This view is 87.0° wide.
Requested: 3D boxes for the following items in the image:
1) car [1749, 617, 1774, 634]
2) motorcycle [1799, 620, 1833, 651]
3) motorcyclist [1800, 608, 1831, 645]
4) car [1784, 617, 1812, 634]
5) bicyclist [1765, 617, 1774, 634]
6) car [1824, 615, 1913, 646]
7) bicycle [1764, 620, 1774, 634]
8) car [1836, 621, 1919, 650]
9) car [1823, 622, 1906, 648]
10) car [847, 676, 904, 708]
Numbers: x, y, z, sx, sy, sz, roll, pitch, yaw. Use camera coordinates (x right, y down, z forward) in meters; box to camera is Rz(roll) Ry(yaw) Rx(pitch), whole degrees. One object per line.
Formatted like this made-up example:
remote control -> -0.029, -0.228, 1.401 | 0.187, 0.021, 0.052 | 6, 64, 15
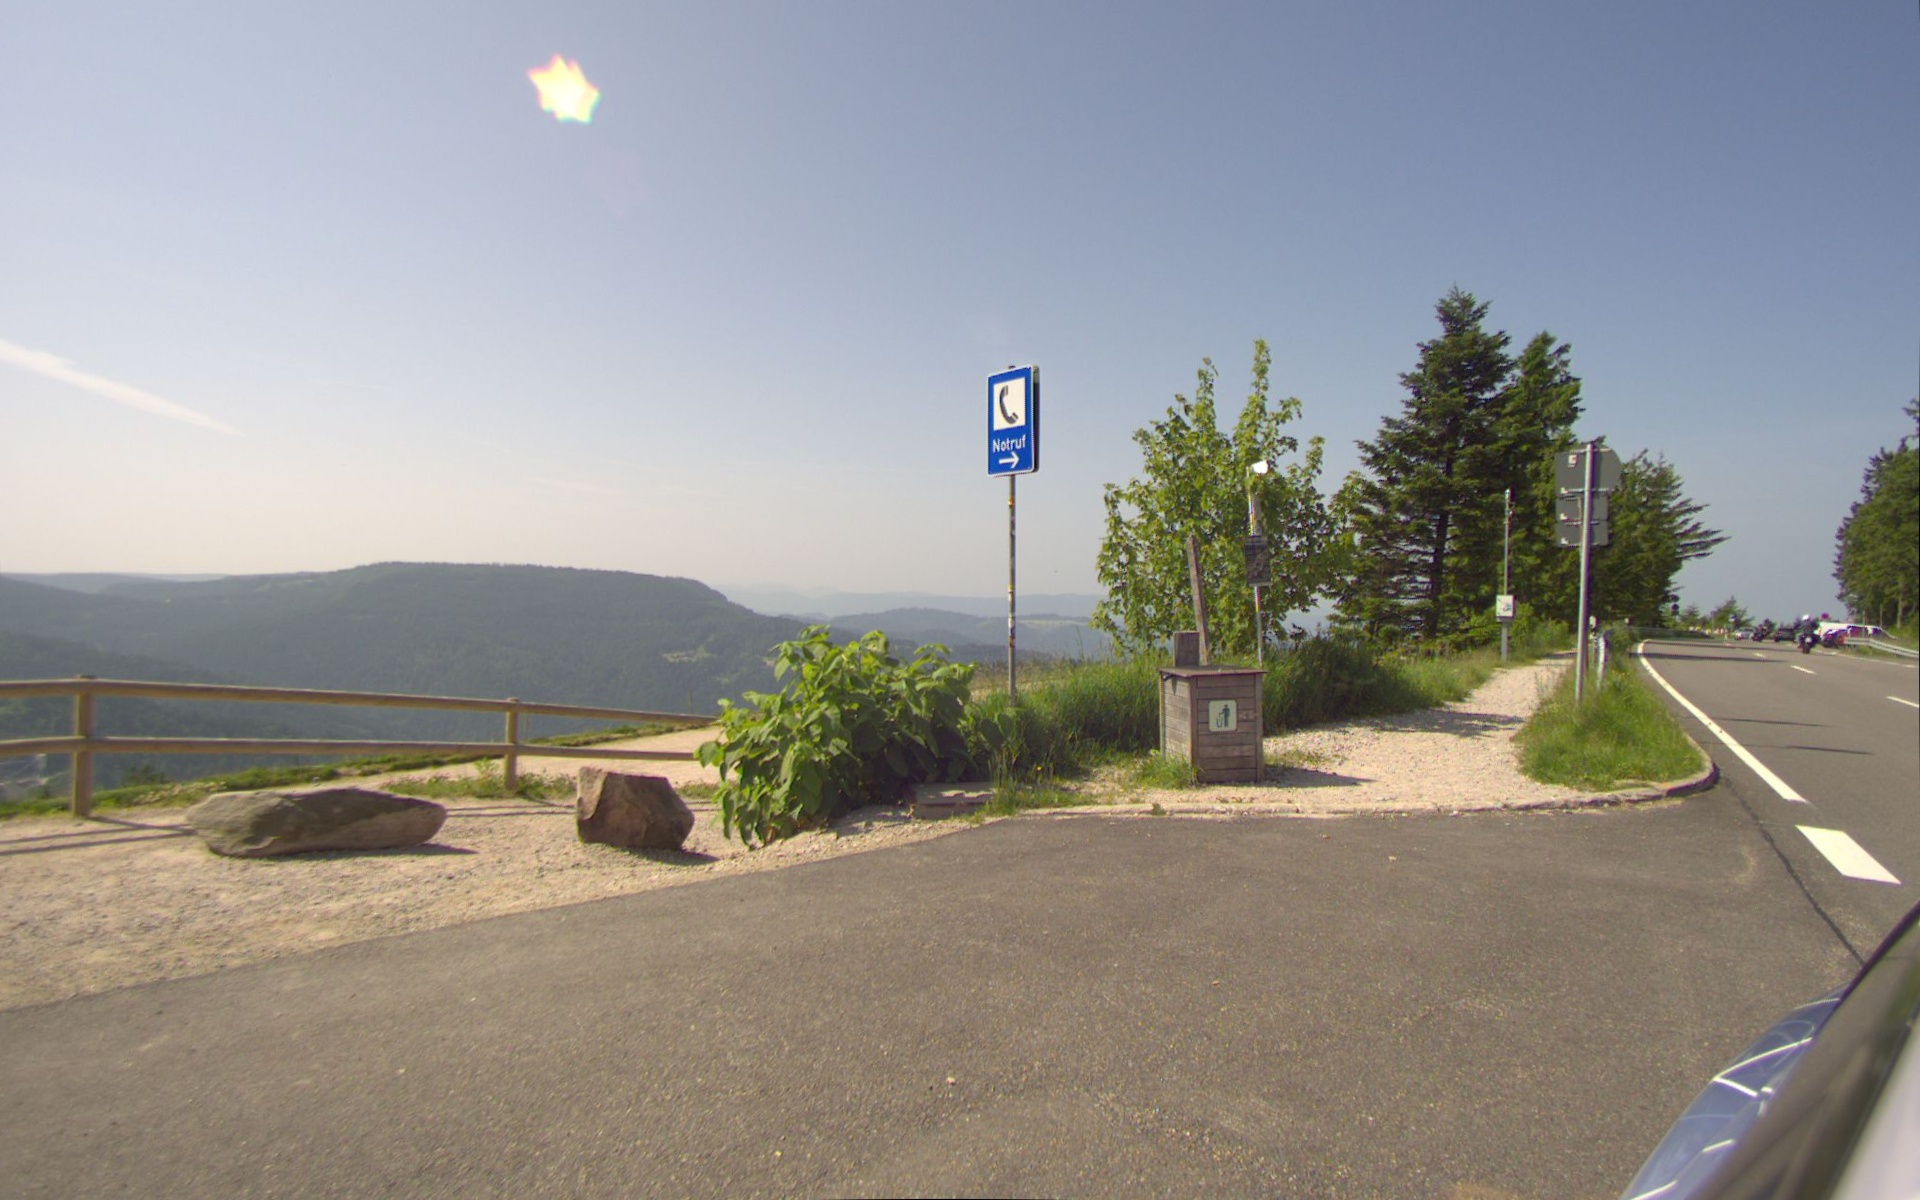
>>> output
car -> 88.130, 2.790, 111.275 | 1.992, 1.615, 3.941 | 4, 2, 41
motorcycle -> 35.986, 1.480, 42.555 | 0.836, 1.109, 2.155 | 4, 3, 35
motorcyclist -> 36.044, 1.114, 42.640 | 0.837, 1.458, 0.993 | 4, 3, 35
car -> 89.353, 2.737, 107.918 | 1.995, 1.615, 3.936 | 4, 2, 44
bicyclist -> 74.592, 2.318, 93.268 | 0.545, 1.547, 0.669 | 3, 1, 42
car -> 69.541, 2.332, 77.552 | 4.703, 1.904, 1.908 | 5, 2, 34
bicycle -> 74.635, 2.472, 93.332 | 0.544, 1.242, 1.830 | 3, 1, 42
car -> 60.810, 2.336, 66.920 | 4.144, 1.528, 1.905 | 5, 2, 39
car -> 61.895, 2.369, 69.357 | 3.906, 1.390, 1.908 | 5, 2, 34
car -> -5.599, 6.003, 66.710 | 3.511, 1.686, 1.774 | 2, 1, 42
